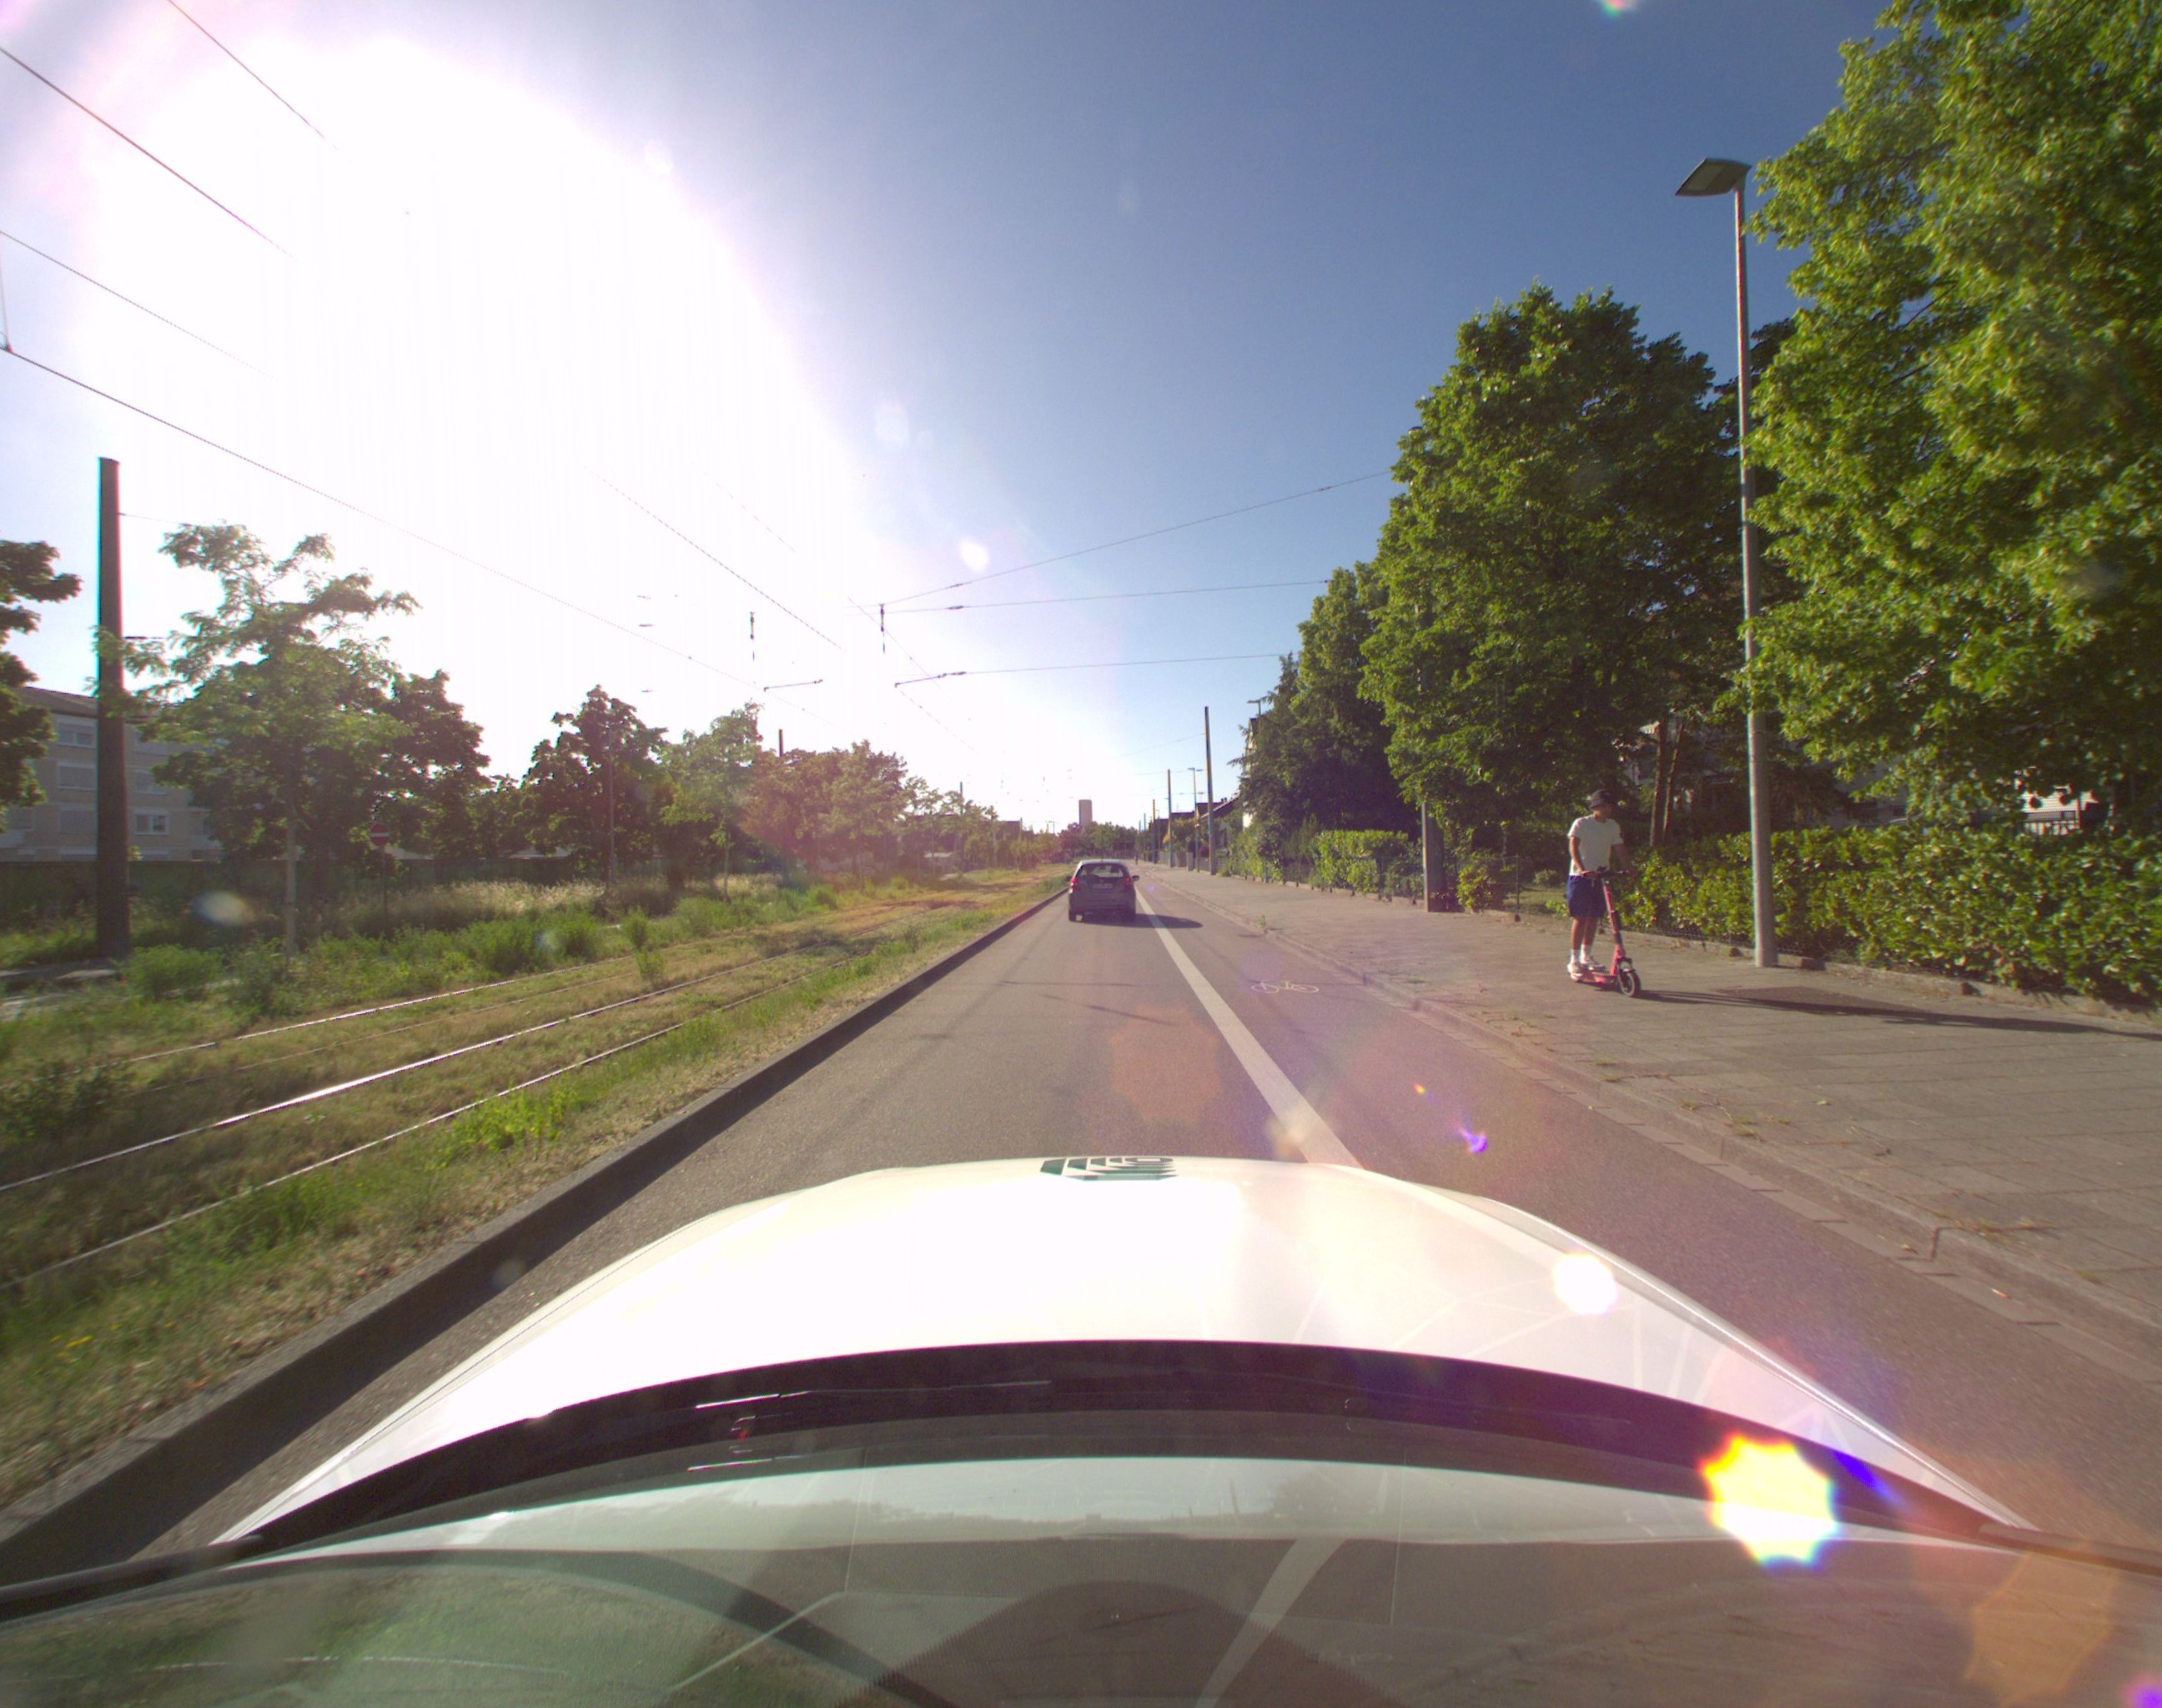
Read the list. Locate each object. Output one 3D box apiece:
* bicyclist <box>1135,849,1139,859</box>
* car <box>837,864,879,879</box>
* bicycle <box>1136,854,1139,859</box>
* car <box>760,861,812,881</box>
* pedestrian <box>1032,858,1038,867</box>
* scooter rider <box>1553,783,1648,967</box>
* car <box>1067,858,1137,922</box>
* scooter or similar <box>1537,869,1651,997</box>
[{"bbox_3d":[9.740,-0.065,142.228,0.596,1.701,0.684,0,-1,3],"label":"bicyclist"},{"bbox_3d":[-24.050,1.878,88.073,3.973,1.404,1.853,-2,-2,1],"label":"car"},{"bbox_3d":[9.824,0.418,142.446,0.473,0.961,1.658,0,-1,3],"label":"bicycle"},{"bbox_3d":[-30.866,1.746,85.313,4.669,1.914,1.904,-2,0,1],"label":"car"},{"bbox_3d":[-8.810,1.612,154.512,0.961,1.640,1.086,-2,0,2],"label":"pedestrian"},{"bbox_3d":[5.169,0.201,8.126,0.548,1.767,0.599,-1,0,1],"label":"scooter rider"},{"bbox_3d":[0.540,0.876,21.258,1.664,1.536,3.487,0,-1,1],"label":"car"},{"bbox_3d":[5.042,0.733,8.074,0.347,1.137,1.208,-2,0,1],"label":"scooter or similar"}]
